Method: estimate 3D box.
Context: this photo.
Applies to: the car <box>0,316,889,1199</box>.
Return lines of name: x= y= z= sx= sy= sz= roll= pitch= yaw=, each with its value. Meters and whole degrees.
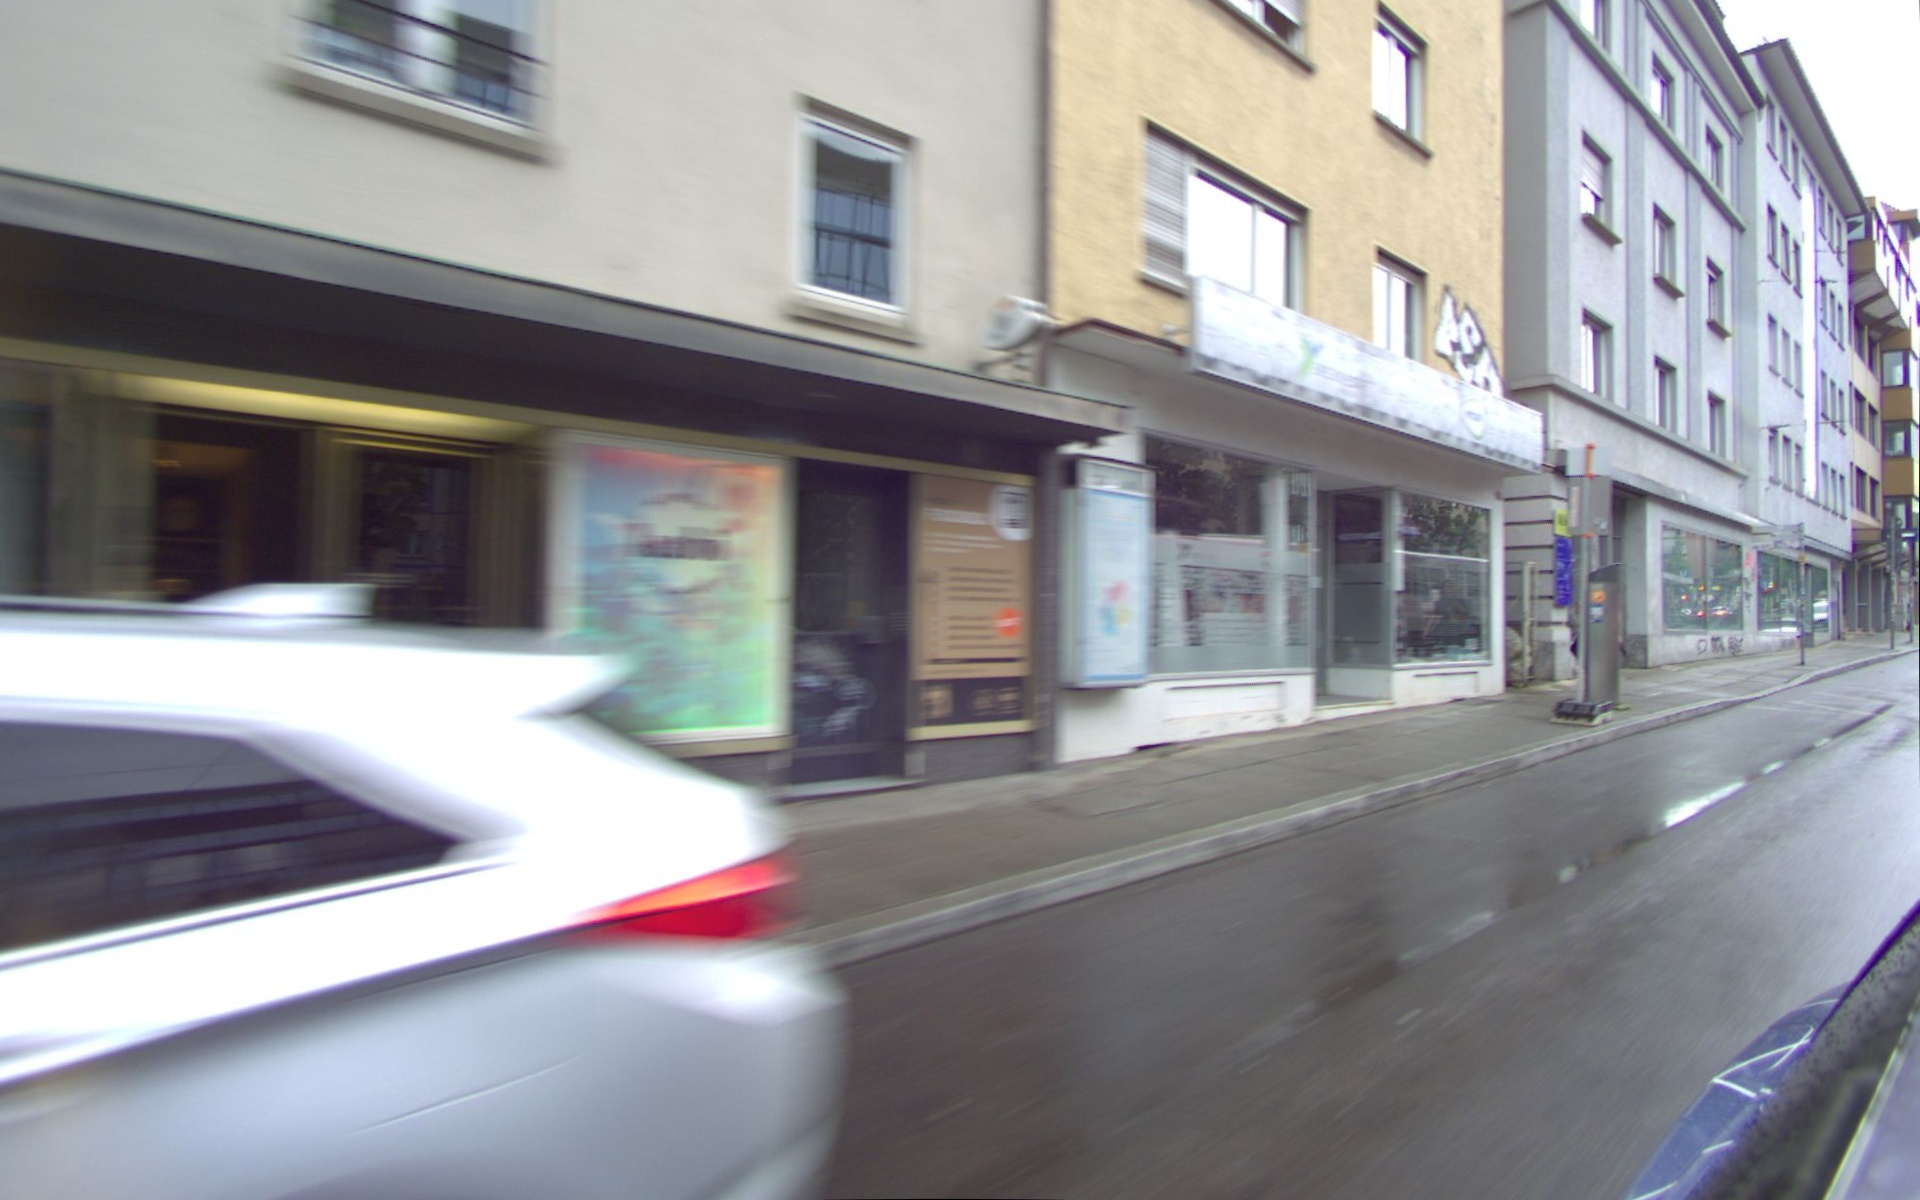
car: x=-2.471 y=0.520 z=1.024 sx=4.542 sy=1.614 sz=2.027 roll=0 pitch=0 yaw=-42

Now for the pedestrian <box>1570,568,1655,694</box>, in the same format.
pedestrian: x=9.067 y=0.421 z=14.072 sx=0.708 sy=1.681 sz=0.792 roll=0 pitch=-2 yaw=-41
